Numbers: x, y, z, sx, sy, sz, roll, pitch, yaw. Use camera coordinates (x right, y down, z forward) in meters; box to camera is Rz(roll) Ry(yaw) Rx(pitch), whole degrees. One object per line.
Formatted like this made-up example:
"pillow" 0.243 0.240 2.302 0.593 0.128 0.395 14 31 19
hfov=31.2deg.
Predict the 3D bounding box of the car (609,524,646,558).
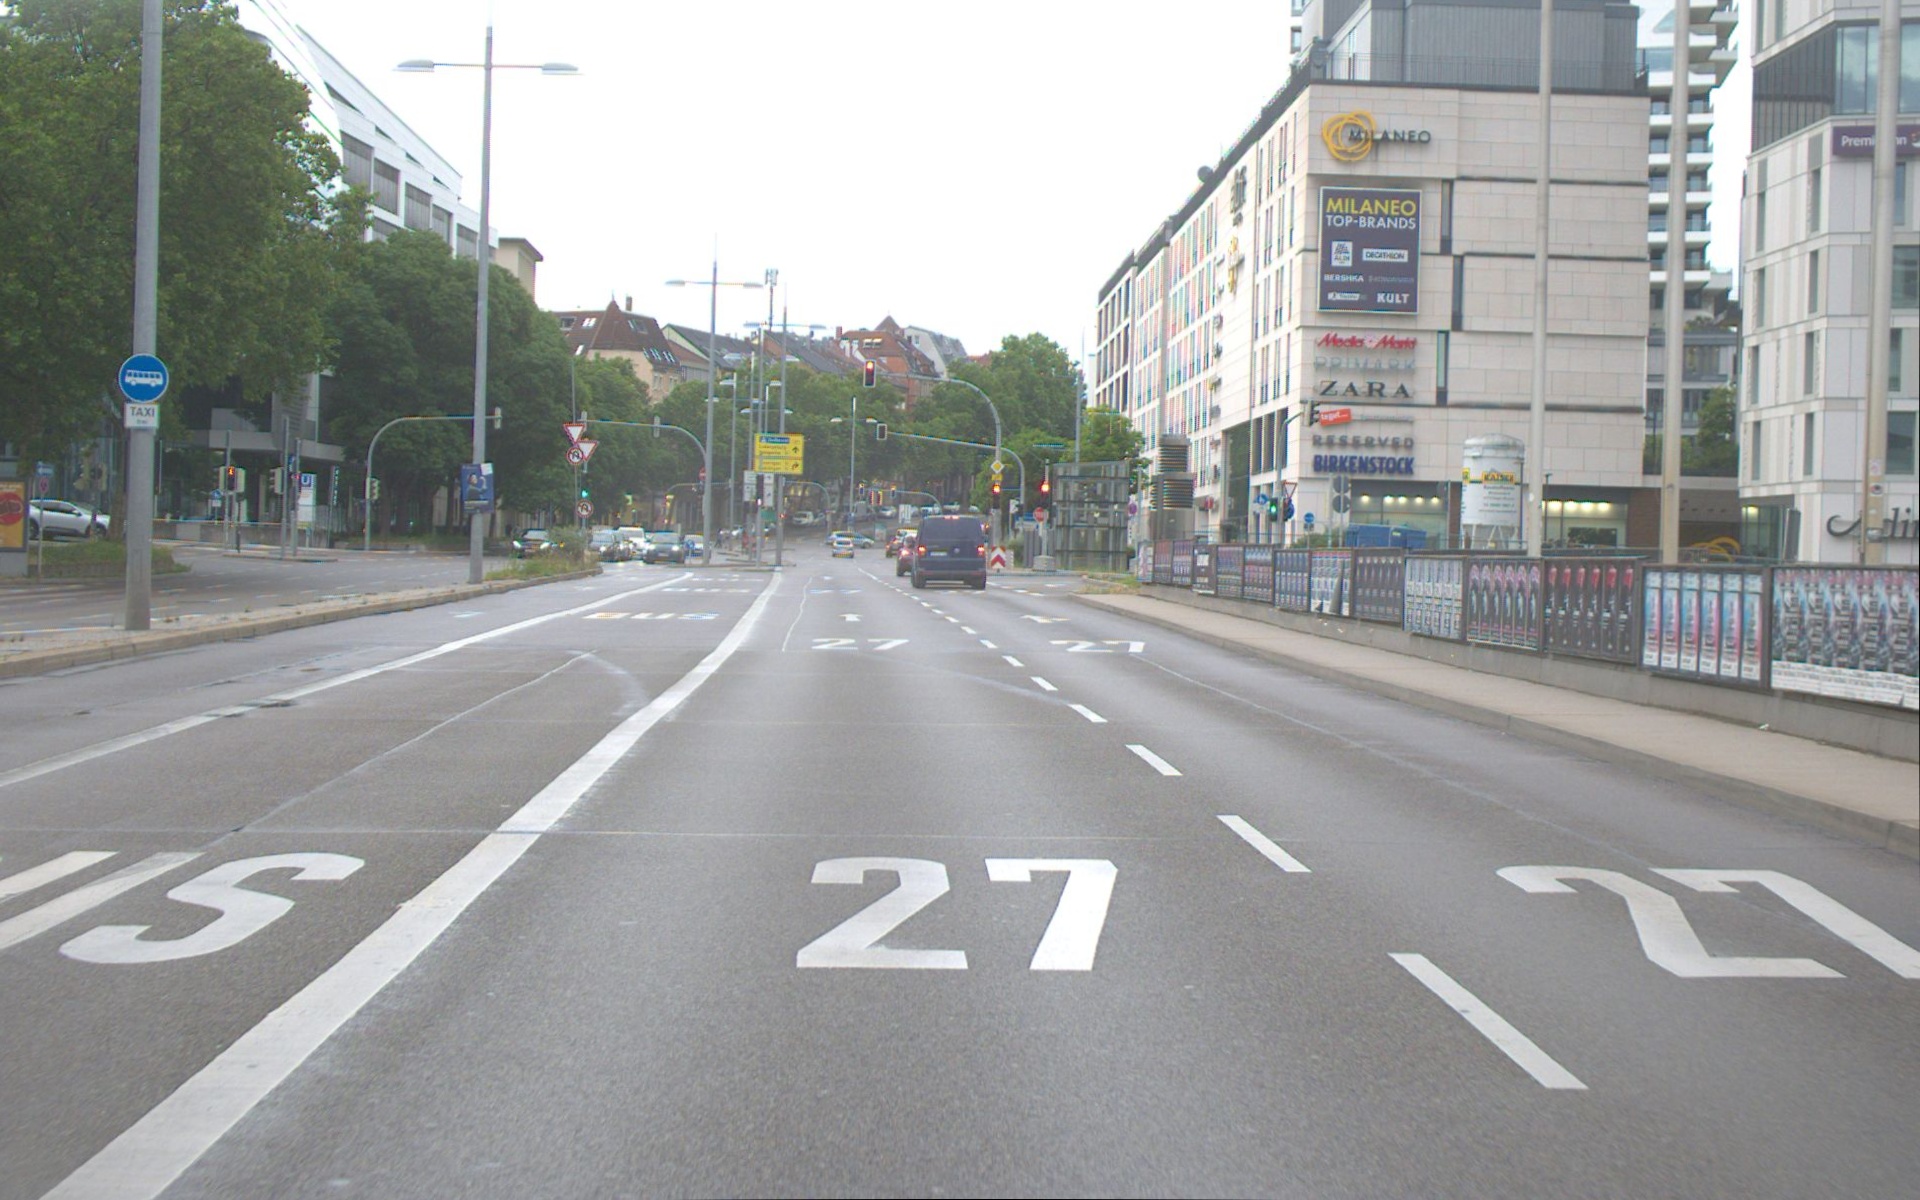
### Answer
"car" -17.999 -3.172 186.208 1.743 1.742 3.540 1 0 -2

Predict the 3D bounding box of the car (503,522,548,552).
"car" -20.755 -3.005 164.365 1.743 1.324 4.226 1 0 -2

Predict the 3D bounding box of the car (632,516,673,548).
"car" -14.629 -3.255 163.826 1.743 1.439 3.395 1 0 -2

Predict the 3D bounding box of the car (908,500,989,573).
"car" -0.350 -1.757 93.494 2.033 1.875 5.042 -2 2 -1

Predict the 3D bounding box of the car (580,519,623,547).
"car" -17.192 -3.216 164.877 1.743 1.253 3.540 2 1 -2

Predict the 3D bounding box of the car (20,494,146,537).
"car" -34.869 -3.371 136.682 4.504 1.625 1.893 1 0 14

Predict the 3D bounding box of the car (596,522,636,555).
"car" -17.235 -3.079 172.116 1.743 1.553 3.540 1 0 -2

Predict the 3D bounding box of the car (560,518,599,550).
"car" -19.689 -3.396 178.006 1.743 1.553 3.540 1 0 -2

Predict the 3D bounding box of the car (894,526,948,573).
"car" -1.355 -1.713 117.704 1.740 1.526 3.814 1 0 -2
